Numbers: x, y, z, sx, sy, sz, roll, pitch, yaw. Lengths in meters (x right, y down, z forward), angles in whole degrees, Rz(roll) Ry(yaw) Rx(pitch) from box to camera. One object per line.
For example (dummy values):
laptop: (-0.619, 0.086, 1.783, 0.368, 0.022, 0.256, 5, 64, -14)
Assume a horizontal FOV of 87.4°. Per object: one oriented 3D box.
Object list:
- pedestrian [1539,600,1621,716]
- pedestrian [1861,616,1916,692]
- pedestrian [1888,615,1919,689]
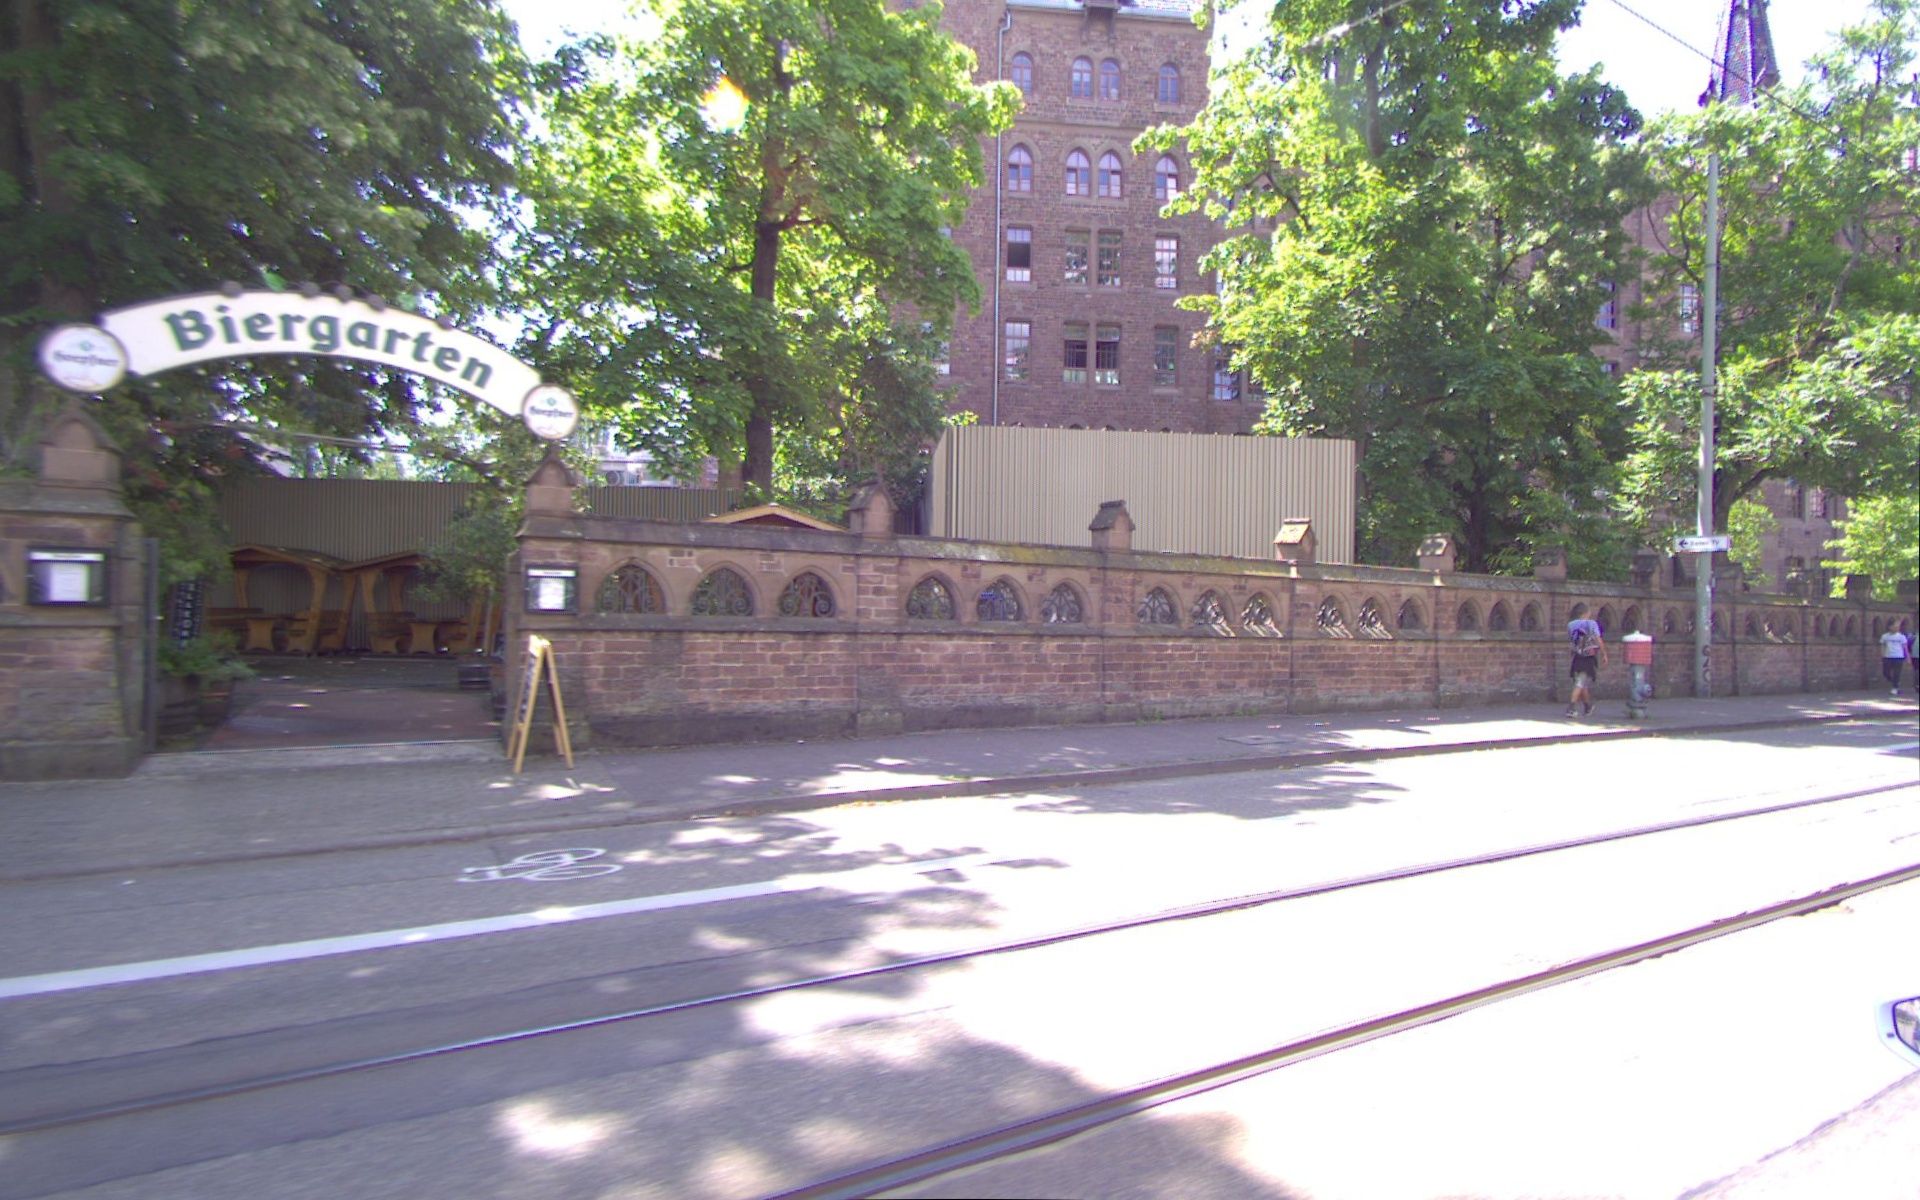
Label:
pedestrian: (10.140, 0.933, 16.436, 0.909, 1.816, 0.718, 1, 2, -30)
pedestrian: (22.733, 1.304, 24.593, 0.909, 1.800, 0.674, 1, 2, -30)
pedestrian: (24.324, 1.319, 25.551, 0.909, 1.800, 0.749, 1, 2, -30)
